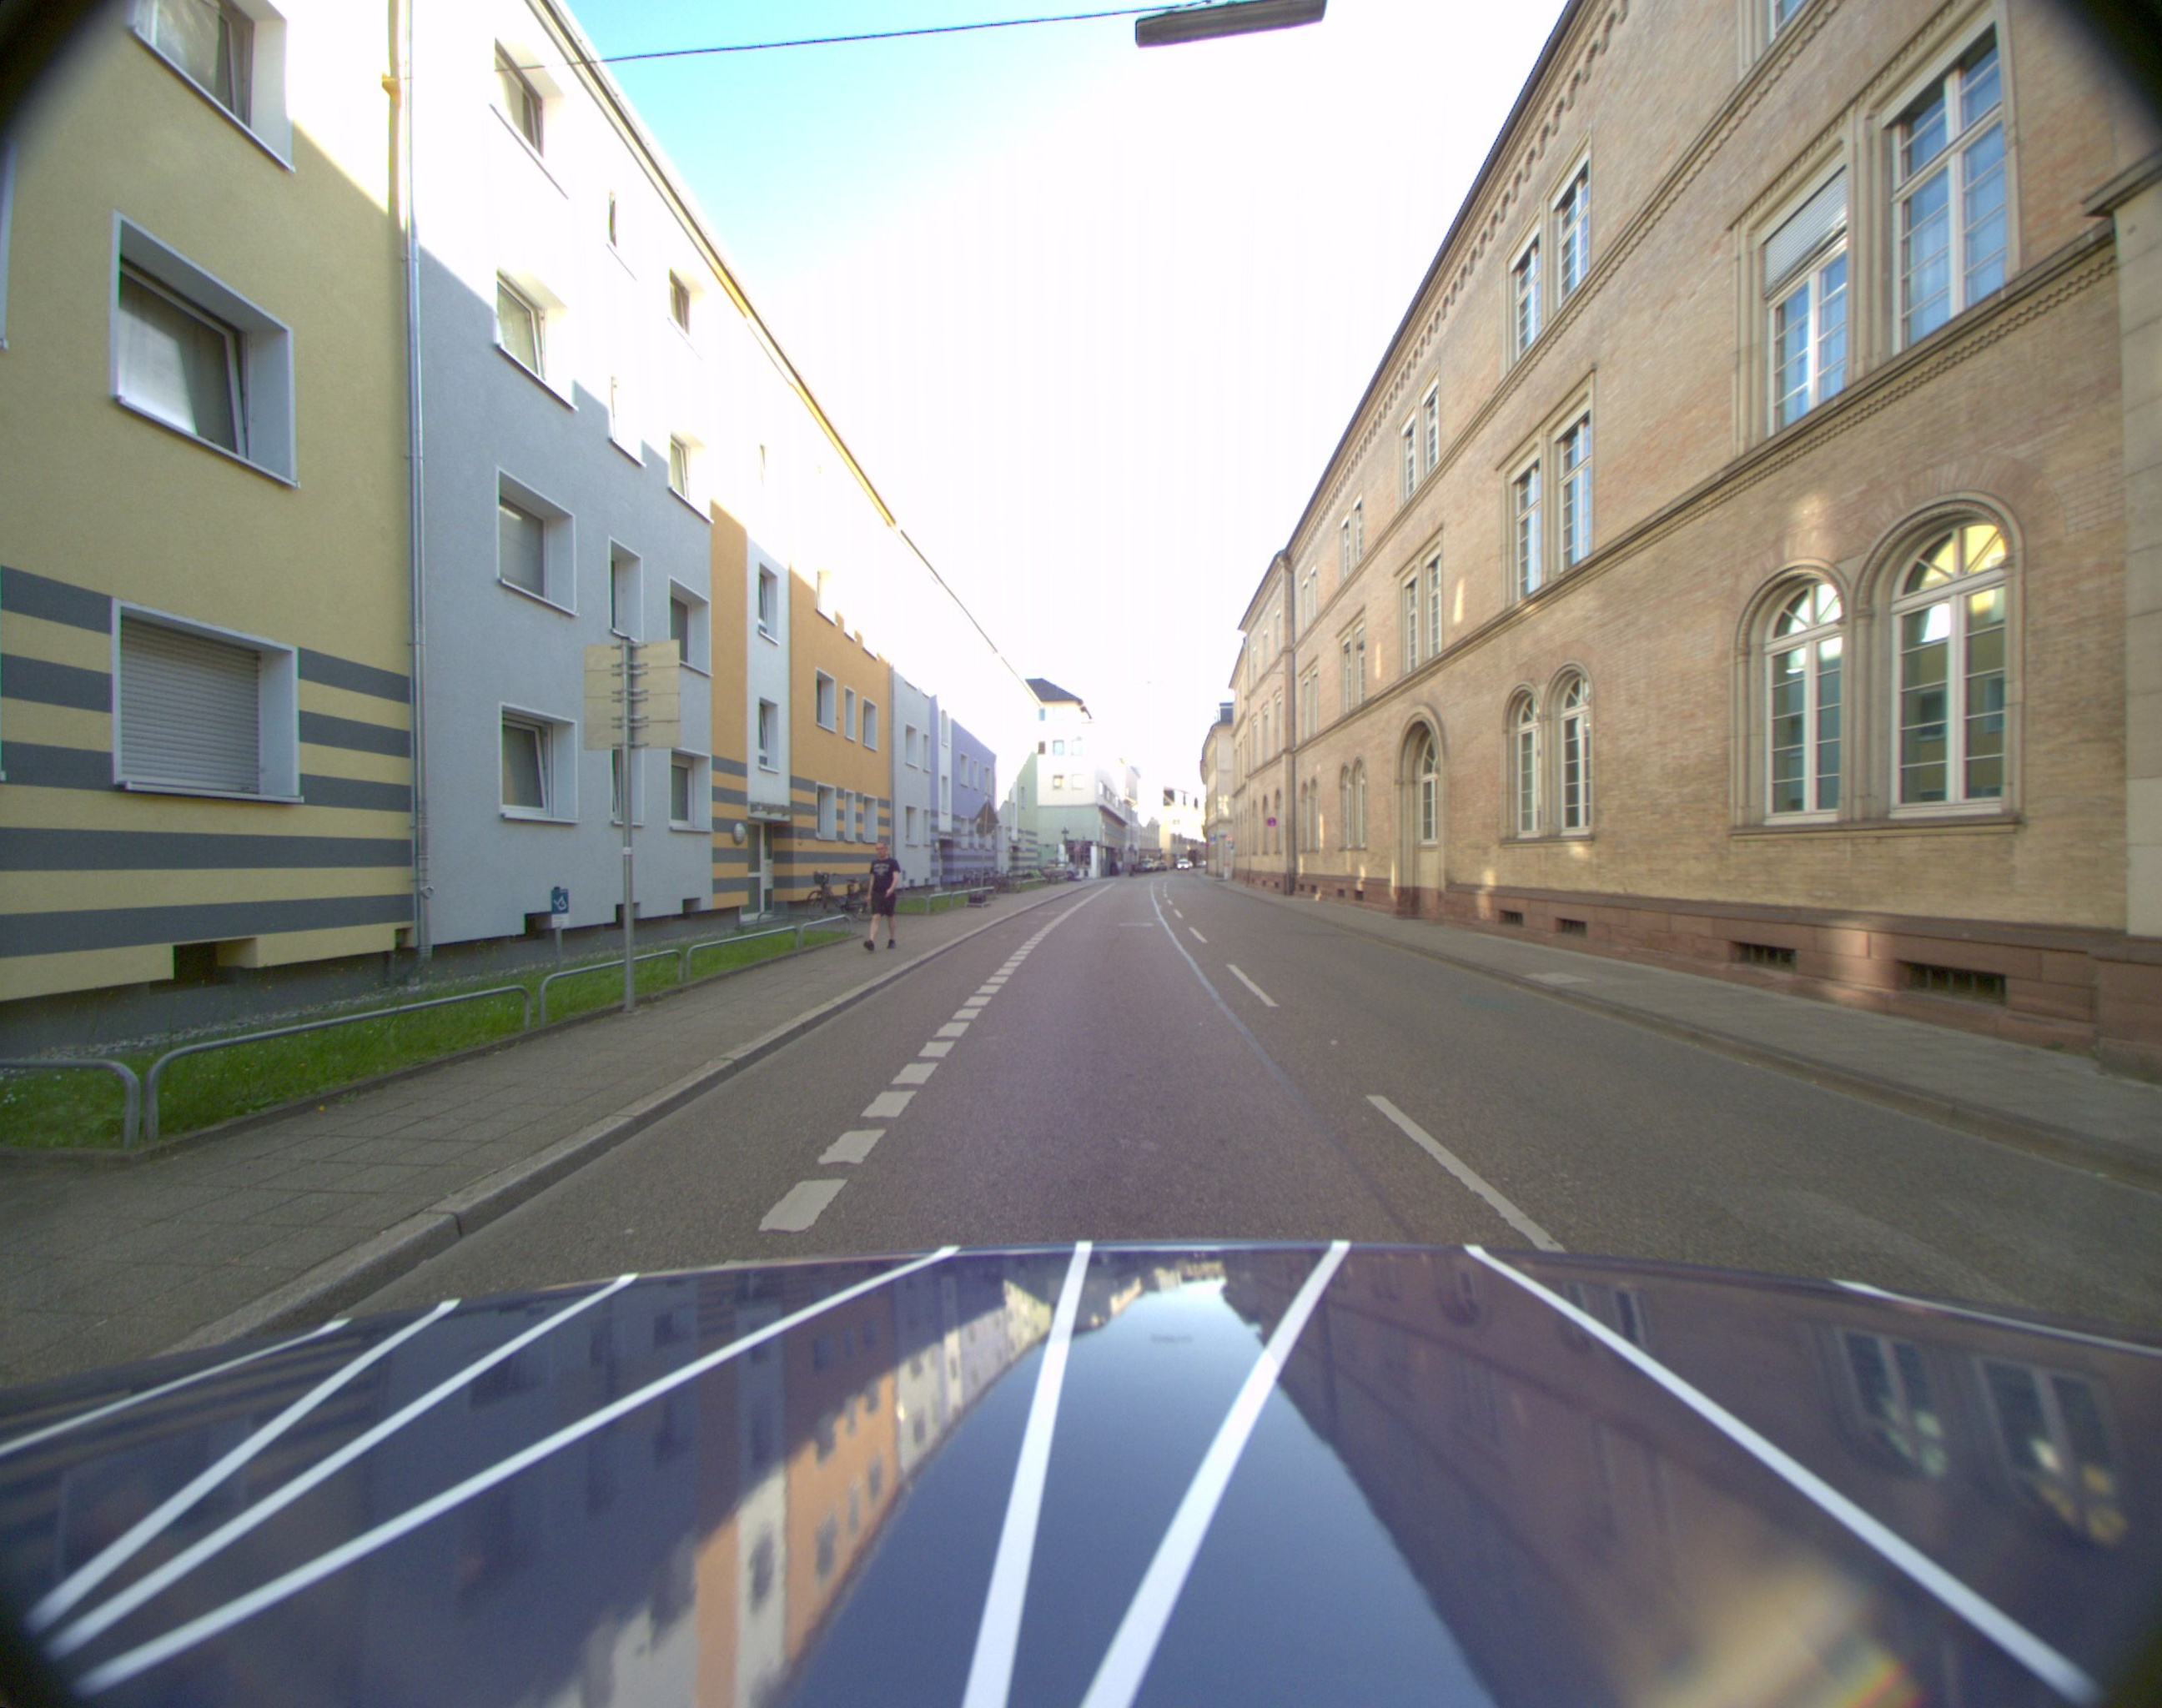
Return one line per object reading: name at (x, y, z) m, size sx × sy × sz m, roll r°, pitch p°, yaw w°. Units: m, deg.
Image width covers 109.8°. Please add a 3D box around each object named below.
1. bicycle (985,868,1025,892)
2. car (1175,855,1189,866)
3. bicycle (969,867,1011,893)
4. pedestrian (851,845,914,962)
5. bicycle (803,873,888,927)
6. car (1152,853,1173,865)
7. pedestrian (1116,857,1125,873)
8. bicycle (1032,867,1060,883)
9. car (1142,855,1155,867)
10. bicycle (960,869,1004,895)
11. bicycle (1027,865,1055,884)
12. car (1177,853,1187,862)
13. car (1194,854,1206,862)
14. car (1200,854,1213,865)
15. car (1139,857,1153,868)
bicycle at (-3.383, 1.146, 33.754) m, size 1.711 × 1.029 × 0.636 m, roll 1°, pitch 0°, yaw -2°
car at (16.336, 1.039, 123.258) m, size 1.921 × 1.712 × 4.965 m, roll 0°, pitch 0°, yaw 11°
bicycle at (-3.943, 1.123, 32.993) m, size 1.710 × 1.075 × 0.636 m, roll 1°, pitch 0°, yaw 1°
pedestrian at (-3.184, 0.771, 12.269) m, size 0.646 × 1.778 × 0.916 m, roll 3°, pitch 1°, yaw 4°
bicycle at (-5.283, 1.028, 17.097) m, size 1.711 × 1.152 × 0.636 m, roll 1°, pitch 0°, yaw -2°
car at (12.276, 0.786, 114.746) m, size 1.859 × 1.714 × 3.746 m, roll 0°, pitch 0°, yaw 29°
pedestrian at (3.780, 1.052, 72.712) m, size 0.707 × 1.510 × 0.662 m, roll -1°, pitch 0°, yaw 13°
bicycle at (-2.166, 1.302, 47.573) m, size 1.711 × 0.972 × 0.516 m, roll 1°, pitch 0°, yaw -2°
car at (9.470, 0.979, 106.039) m, size 1.535 × 1.714 × 3.741 m, roll 0°, pitch 0°, yaw 8°
bicycle at (-4.145, 1.160, 31.850) m, size 1.710 × 1.039 × 0.636 m, roll 1°, pitch 0°, yaw 2°
bicycle at (-2.414, 1.224, 46.113) m, size 1.711 × 1.097 × 0.585 m, roll 1°, pitch 0°, yaw -2°
car at (19.902, 0.713, 149.538) m, size 1.534 × 1.714 × 3.743 m, roll 0°, pitch 0°, yaw 16°
car at (25.584, 0.910, 163.473) m, size 1.925 × 1.714 × 4.236 m, roll 0°, pitch 0°, yaw 19°
car at (19.861, 0.881, 120.384) m, size 1.662 × 1.714 × 3.743 m, roll 0°, pitch 0°, yaw 14°
car at (8.645, 1.178, 100.764) m, size 1.634 × 1.405 × 3.687 m, roll 0°, pitch 0°, yaw 8°
